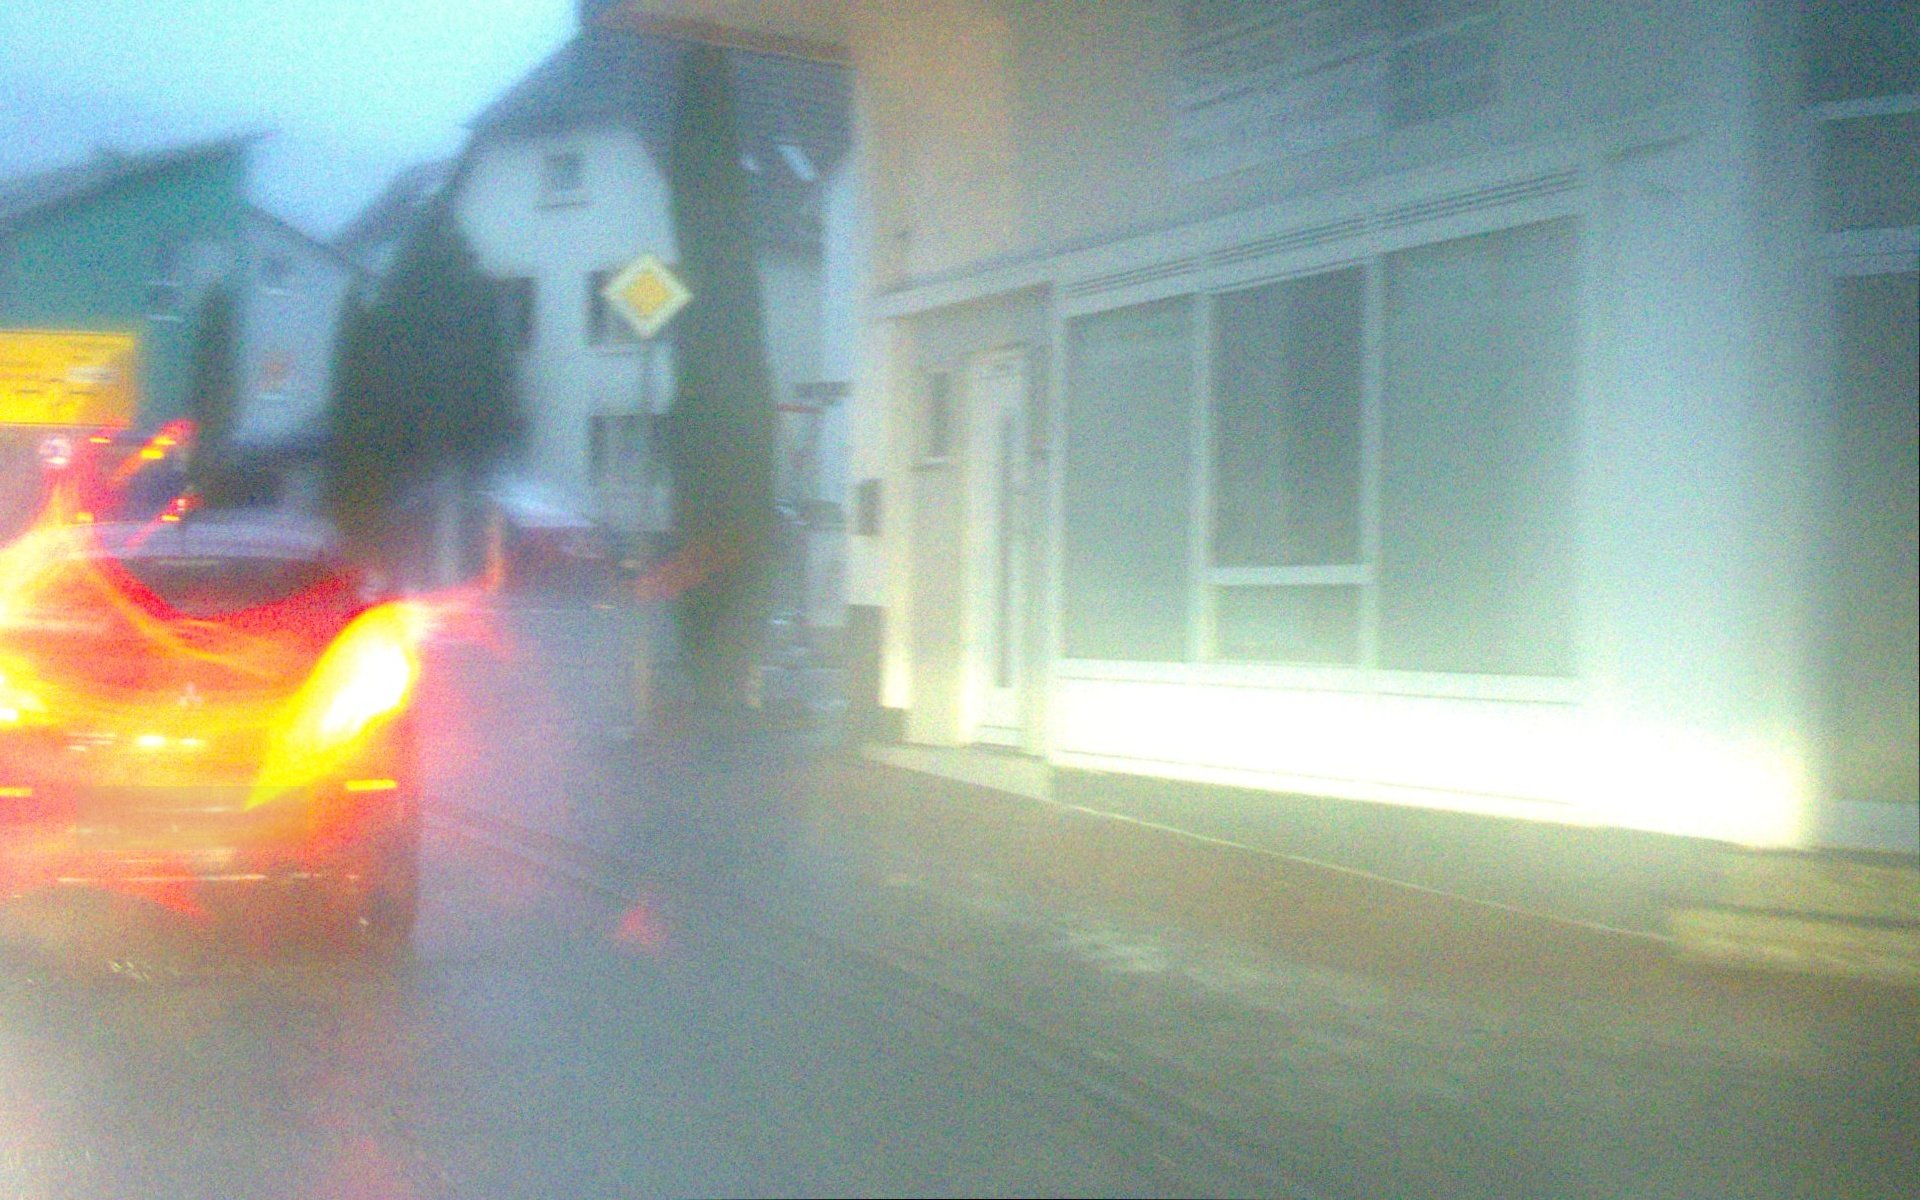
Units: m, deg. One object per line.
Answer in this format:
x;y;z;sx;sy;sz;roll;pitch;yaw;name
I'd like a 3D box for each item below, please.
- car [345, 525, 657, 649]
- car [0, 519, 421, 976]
-6.580;-0.222;49.059;4.547;1.623;1.811;2;3;40;car
-3.174;0.440;13.050;1.545;1.461;3.700;1;1;-20;car
